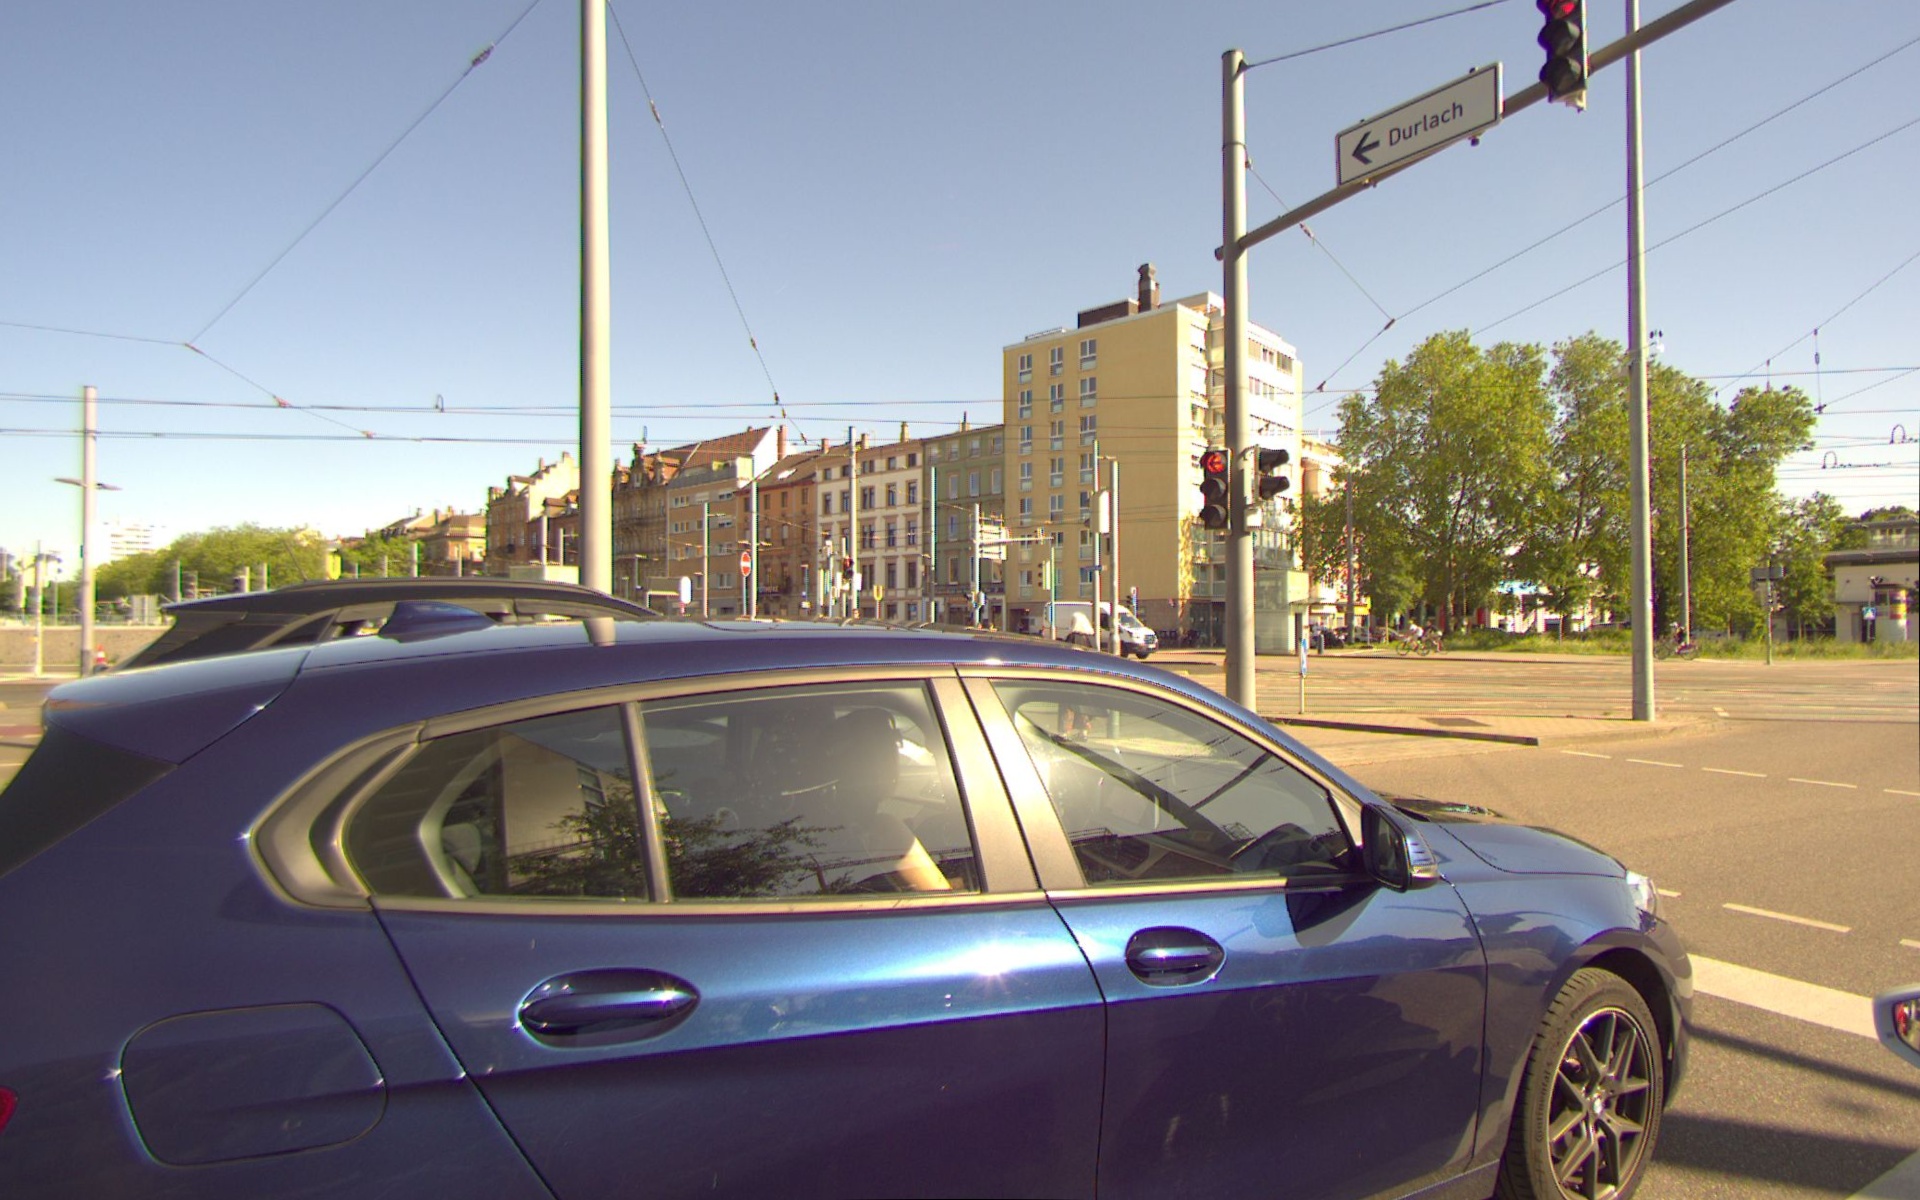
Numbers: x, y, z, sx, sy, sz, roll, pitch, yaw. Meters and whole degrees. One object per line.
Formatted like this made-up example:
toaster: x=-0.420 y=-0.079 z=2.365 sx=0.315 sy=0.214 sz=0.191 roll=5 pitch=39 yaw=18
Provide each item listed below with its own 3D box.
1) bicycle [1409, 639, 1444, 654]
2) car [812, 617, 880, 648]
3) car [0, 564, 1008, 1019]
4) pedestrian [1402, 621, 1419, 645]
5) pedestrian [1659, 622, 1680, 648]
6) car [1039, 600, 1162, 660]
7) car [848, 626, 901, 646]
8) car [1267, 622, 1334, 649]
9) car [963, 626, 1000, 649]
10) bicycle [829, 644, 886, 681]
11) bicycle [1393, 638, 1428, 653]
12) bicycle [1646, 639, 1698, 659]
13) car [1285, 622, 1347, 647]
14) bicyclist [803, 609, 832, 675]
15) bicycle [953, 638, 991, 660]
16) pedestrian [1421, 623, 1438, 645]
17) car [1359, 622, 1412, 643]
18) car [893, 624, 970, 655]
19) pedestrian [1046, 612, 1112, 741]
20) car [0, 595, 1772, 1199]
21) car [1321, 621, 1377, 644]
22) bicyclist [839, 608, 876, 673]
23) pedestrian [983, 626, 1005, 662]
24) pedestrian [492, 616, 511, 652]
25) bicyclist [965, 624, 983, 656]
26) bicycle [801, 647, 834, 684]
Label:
bicycle: x=24.453 y=2.427 z=52.660 sx=1.610 sy=0.727 sz=0.422 roll=-1 pitch=-2 yaw=41
car: x=-6.474 y=1.818 z=56.895 sx=1.856 sy=1.681 sz=4.023 roll=1 pitch=-2 yaw=-42
car: x=-1.895 y=0.685 z=5.118 sx=3.959 sy=1.537 sz=1.751 roll=1 pitch=-1 yaw=-28
pedestrian: x=23.218 y=1.681 z=51.793 sx=0.738 sy=1.220 sz=0.422 roll=-1 pitch=-2 yaw=38
pedestrian: x=33.341 y=1.654 z=47.218 sx=0.783 sy=1.220 sz=0.559 roll=-1 pitch=-1 yaw=34
car: x=6.231 y=1.333 z=45.064 sx=5.344 sy=2.541 sz=1.989 roll=-1 pitch=-2 yaw=43
car: x=-6.299 y=2.651 z=74.436 sx=1.749 sy=1.446 sz=3.863 roll=-1 pitch=-2 yaw=39
car: x=21.619 y=2.257 z=63.828 sx=3.691 sy=1.684 sz=1.586 roll=-1 pitch=-2 yaw=42
car: x=1.381 y=2.492 z=67.004 sx=1.745 sy=1.446 sz=3.873 roll=0 pitch=-2 yaw=-10
bicycle: x=-2.734 y=1.636 z=26.530 sx=0.672 sy=0.890 sz=1.880 roll=1 pitch=-2 yaw=-35
bicycle: x=23.208 y=2.337 z=51.788 sx=1.609 sy=0.769 sz=0.422 roll=-1 pitch=-2 yaw=38
bicycle: x=33.411 y=2.282 z=47.157 sx=1.978 sy=0.925 sz=0.561 roll=-1 pitch=-2 yaw=34
car: x=24.439 y=2.342 z=69.021 sx=3.691 sy=1.684 sz=1.586 roll=-1 pitch=-2 yaw=42
bicyclist: x=-3.721 y=1.087 z=26.188 sx=0.667 sy=1.676 sz=0.783 roll=0 pitch=-1 yaw=-14
bicycle: x=0.552 y=2.249 z=46.225 sx=1.666 sy=0.958 sz=0.614 roll=1 pitch=-2 yaw=-30
pedestrian: x=24.580 y=1.758 z=52.562 sx=0.739 sy=1.142 sz=0.422 roll=-1 pitch=-2 yaw=41
car: x=34.895 y=2.637 z=82.371 sx=3.691 sy=1.684 sz=1.586 roll=-1 pitch=-2 yaw=42
car: x=-1.650 y=2.211 z=56.401 sx=4.246 sy=1.675 sz=1.848 roll=-1 pitch=-2 yaw=42
pedestrian: x=1.496 y=0.941 z=12.588 sx=0.751 sy=1.575 sz=0.355 roll=1 pitch=-1 yaw=-26
car: x=0.114 y=0.767 z=2.544 sx=3.984 sy=1.464 sz=1.703 roll=1 pitch=0 yaw=-30
car: x=29.909 y=2.502 z=77.336 sx=3.691 sy=1.684 sz=1.586 roll=-1 pitch=-2 yaw=42
bicyclist: x=-2.708 y=1.067 z=26.488 sx=0.672 sy=1.676 sz=0.777 roll=1 pitch=-1 yaw=-35
pedestrian: x=1.516 y=1.952 z=44.763 sx=0.669 sy=1.593 sz=0.740 roll=1 pitch=-2 yaw=-45
pedestrian: x=-22.556 y=1.681 z=49.425 sx=0.672 sy=1.735 sz=0.793 roll=1 pitch=-1 yaw=-38
bicyclist: x=0.640 y=1.843 z=46.291 sx=0.609 sy=1.462 sz=0.614 roll=1 pitch=-1 yaw=-30
bicycle: x=-3.714 y=1.675 z=26.141 sx=0.667 sy=0.890 sz=1.893 roll=0 pitch=-2 yaw=-14
